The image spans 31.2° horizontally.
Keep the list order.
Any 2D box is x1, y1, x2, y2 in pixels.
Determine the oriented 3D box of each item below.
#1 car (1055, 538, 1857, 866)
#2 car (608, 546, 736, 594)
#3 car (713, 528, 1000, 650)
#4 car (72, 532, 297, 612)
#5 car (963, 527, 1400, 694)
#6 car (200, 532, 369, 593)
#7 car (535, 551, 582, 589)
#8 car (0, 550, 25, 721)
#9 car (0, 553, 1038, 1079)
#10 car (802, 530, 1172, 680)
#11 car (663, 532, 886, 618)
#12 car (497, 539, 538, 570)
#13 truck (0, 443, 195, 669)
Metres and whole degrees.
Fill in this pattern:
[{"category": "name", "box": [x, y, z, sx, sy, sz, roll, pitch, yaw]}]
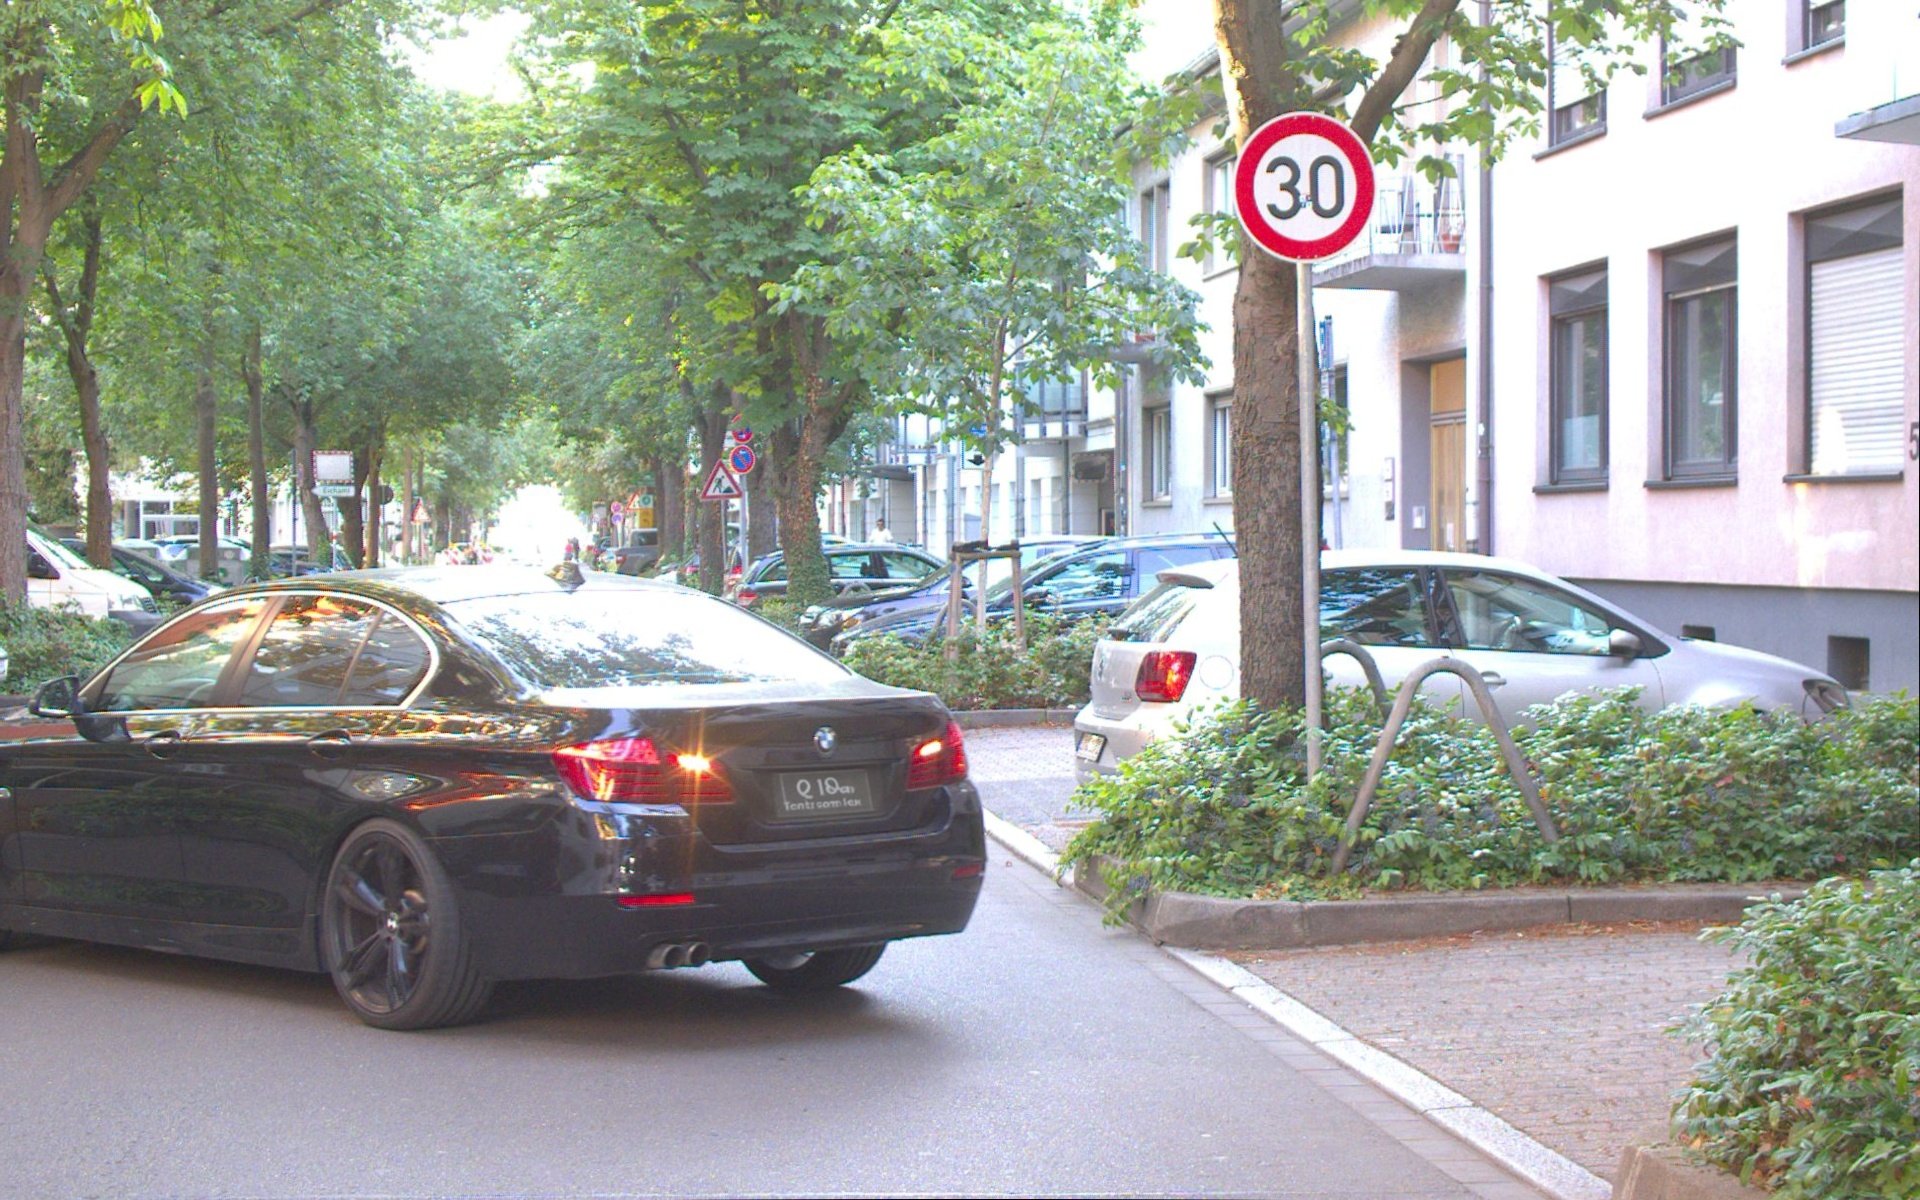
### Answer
[{"category": "car", "box": [2.423, 0.463, 17.192, 3.656, 1.474, 1.566, -1, 1, -8]}, {"category": "car", "box": [-8.534, -0.902, 101.762, 3.656, 1.388, 1.566, -1, 1, -8]}, {"category": "car", "box": [-1.407, -0.168, 46.020, 3.656, 1.531, 1.566, -1, 1, -8]}, {"category": "car", "box": [-14.785, -0.543, 65.702, 4.020, 1.466, 1.640, 1, 1, -7]}, {"category": "car", "box": [1.964, 0.070, 30.975, 3.656, 1.388, 1.566, -1, 1, -8]}, {"category": "car", "box": [-16.959, -0.949, 86.431, 4.020, 1.466, 1.640, 1, 1, -7]}, {"category": "car", "box": [-17.219, -1.301, 147.433, 1.993, 1.546, 4.001, 0, 1, -7]}, {"category": "car", "box": [-10.355, 0.277, 29.810, 4.131, 1.466, 1.640, 1, 1, -7]}, {"category": "car", "box": [-2.019, 0.578, 11.939, 1.763, 1.445, 4.665, -1, 2, -45]}, {"category": "car", "box": [0.268, 0.030, 37.369, 3.791, 1.524, 1.566, -1, 1, -8]}, {"category": "car", "box": [-3.194, -0.438, 58.895, 3.656, 1.388, 1.566, -1, 1, -8]}, {"category": "car", "box": [-21.563, -2.237, 167.708, 1.894, 1.470, 4.001, 0, 1, -6]}, {"category": "truck", "box": [-11.138, -0.531, 38.061, 4.998, 2.432, 1.916, 1, 2, -5]}]
